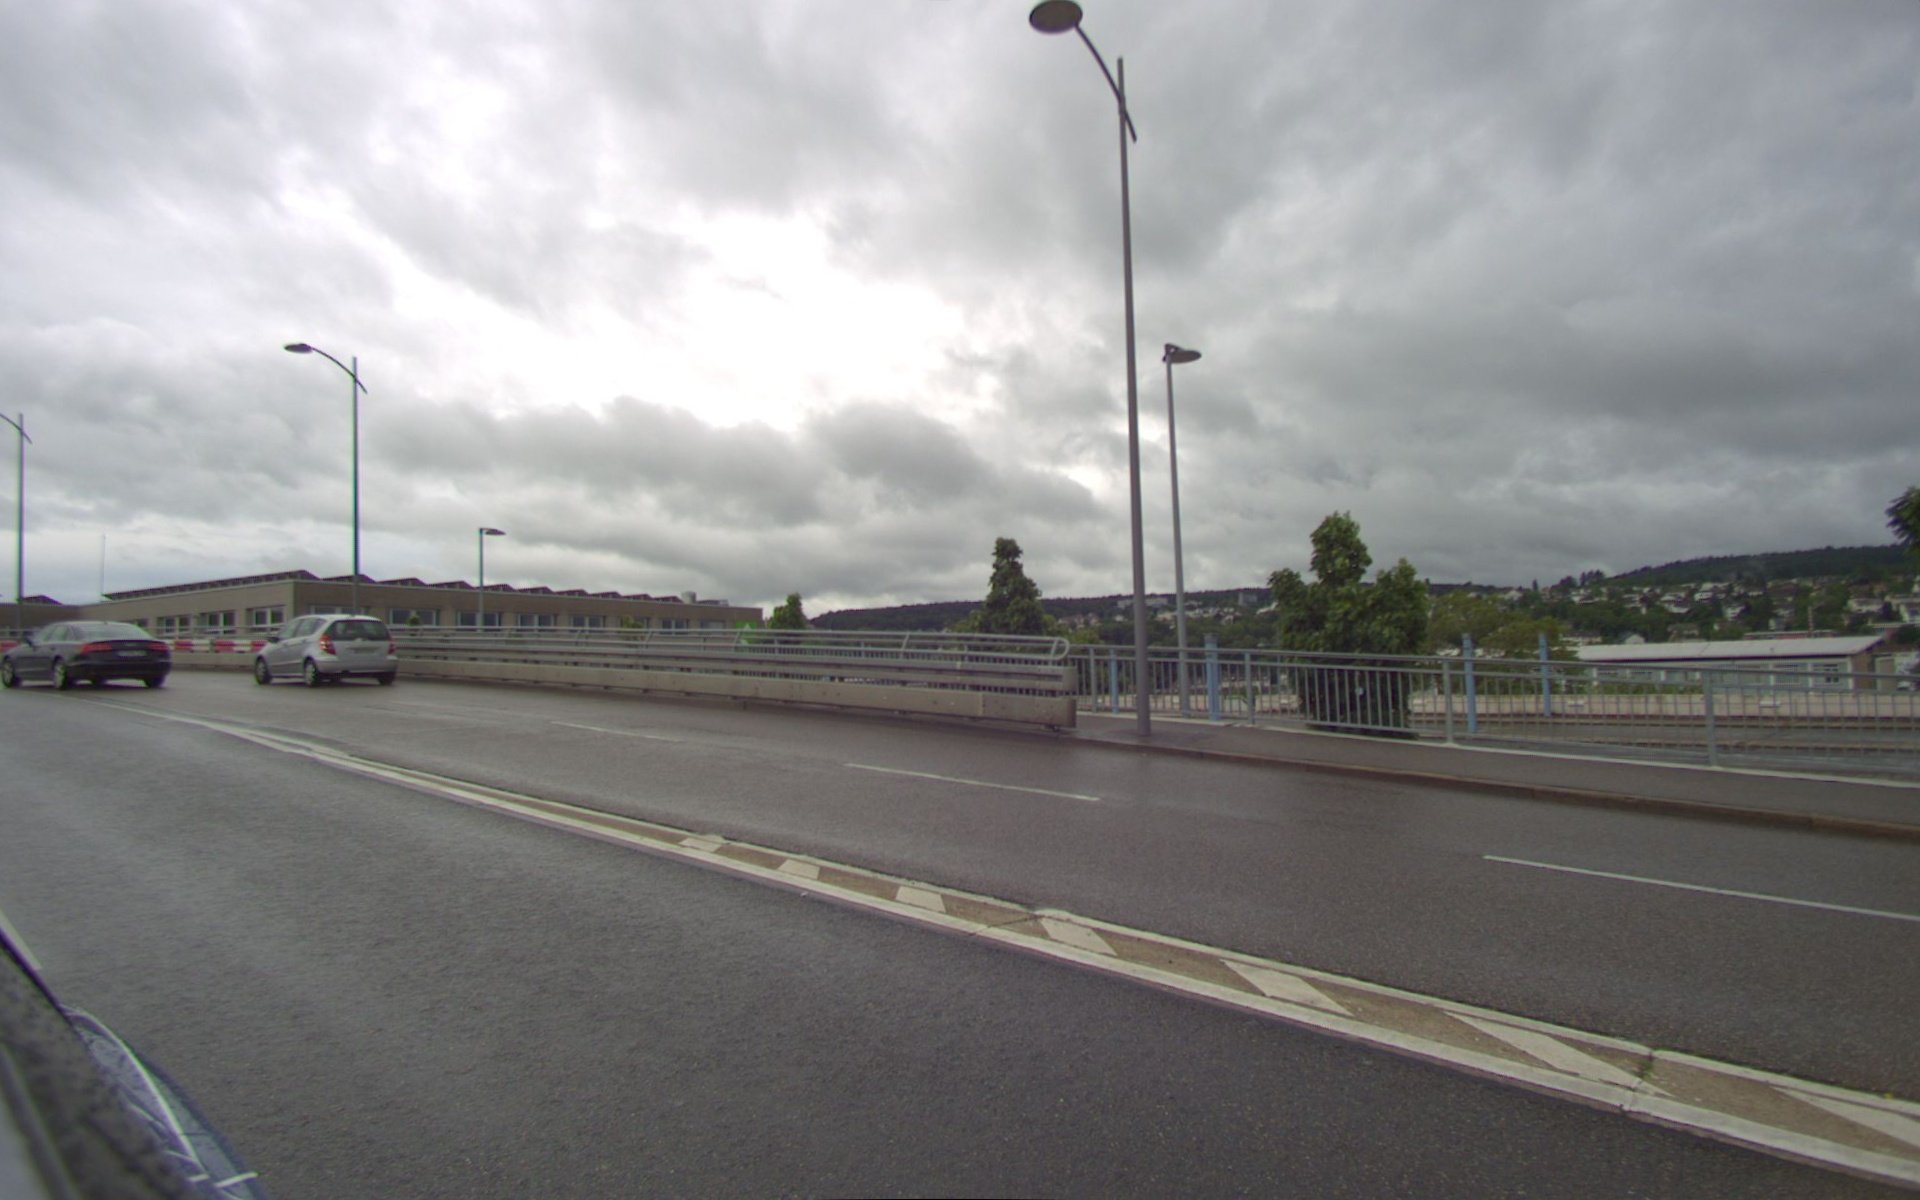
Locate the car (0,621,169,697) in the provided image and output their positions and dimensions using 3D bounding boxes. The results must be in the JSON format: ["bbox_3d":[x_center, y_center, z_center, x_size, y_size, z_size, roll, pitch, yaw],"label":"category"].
[{"bbox_3d":[-19.370,1.249,22.295,4.443,1.502,1.655,0,-2,32],"label":"car"}]

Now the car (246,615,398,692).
[{"bbox_3d":[-14.696,1.188,23.263,3.702,1.621,1.630,0,-2,35],"label":"car"}]
